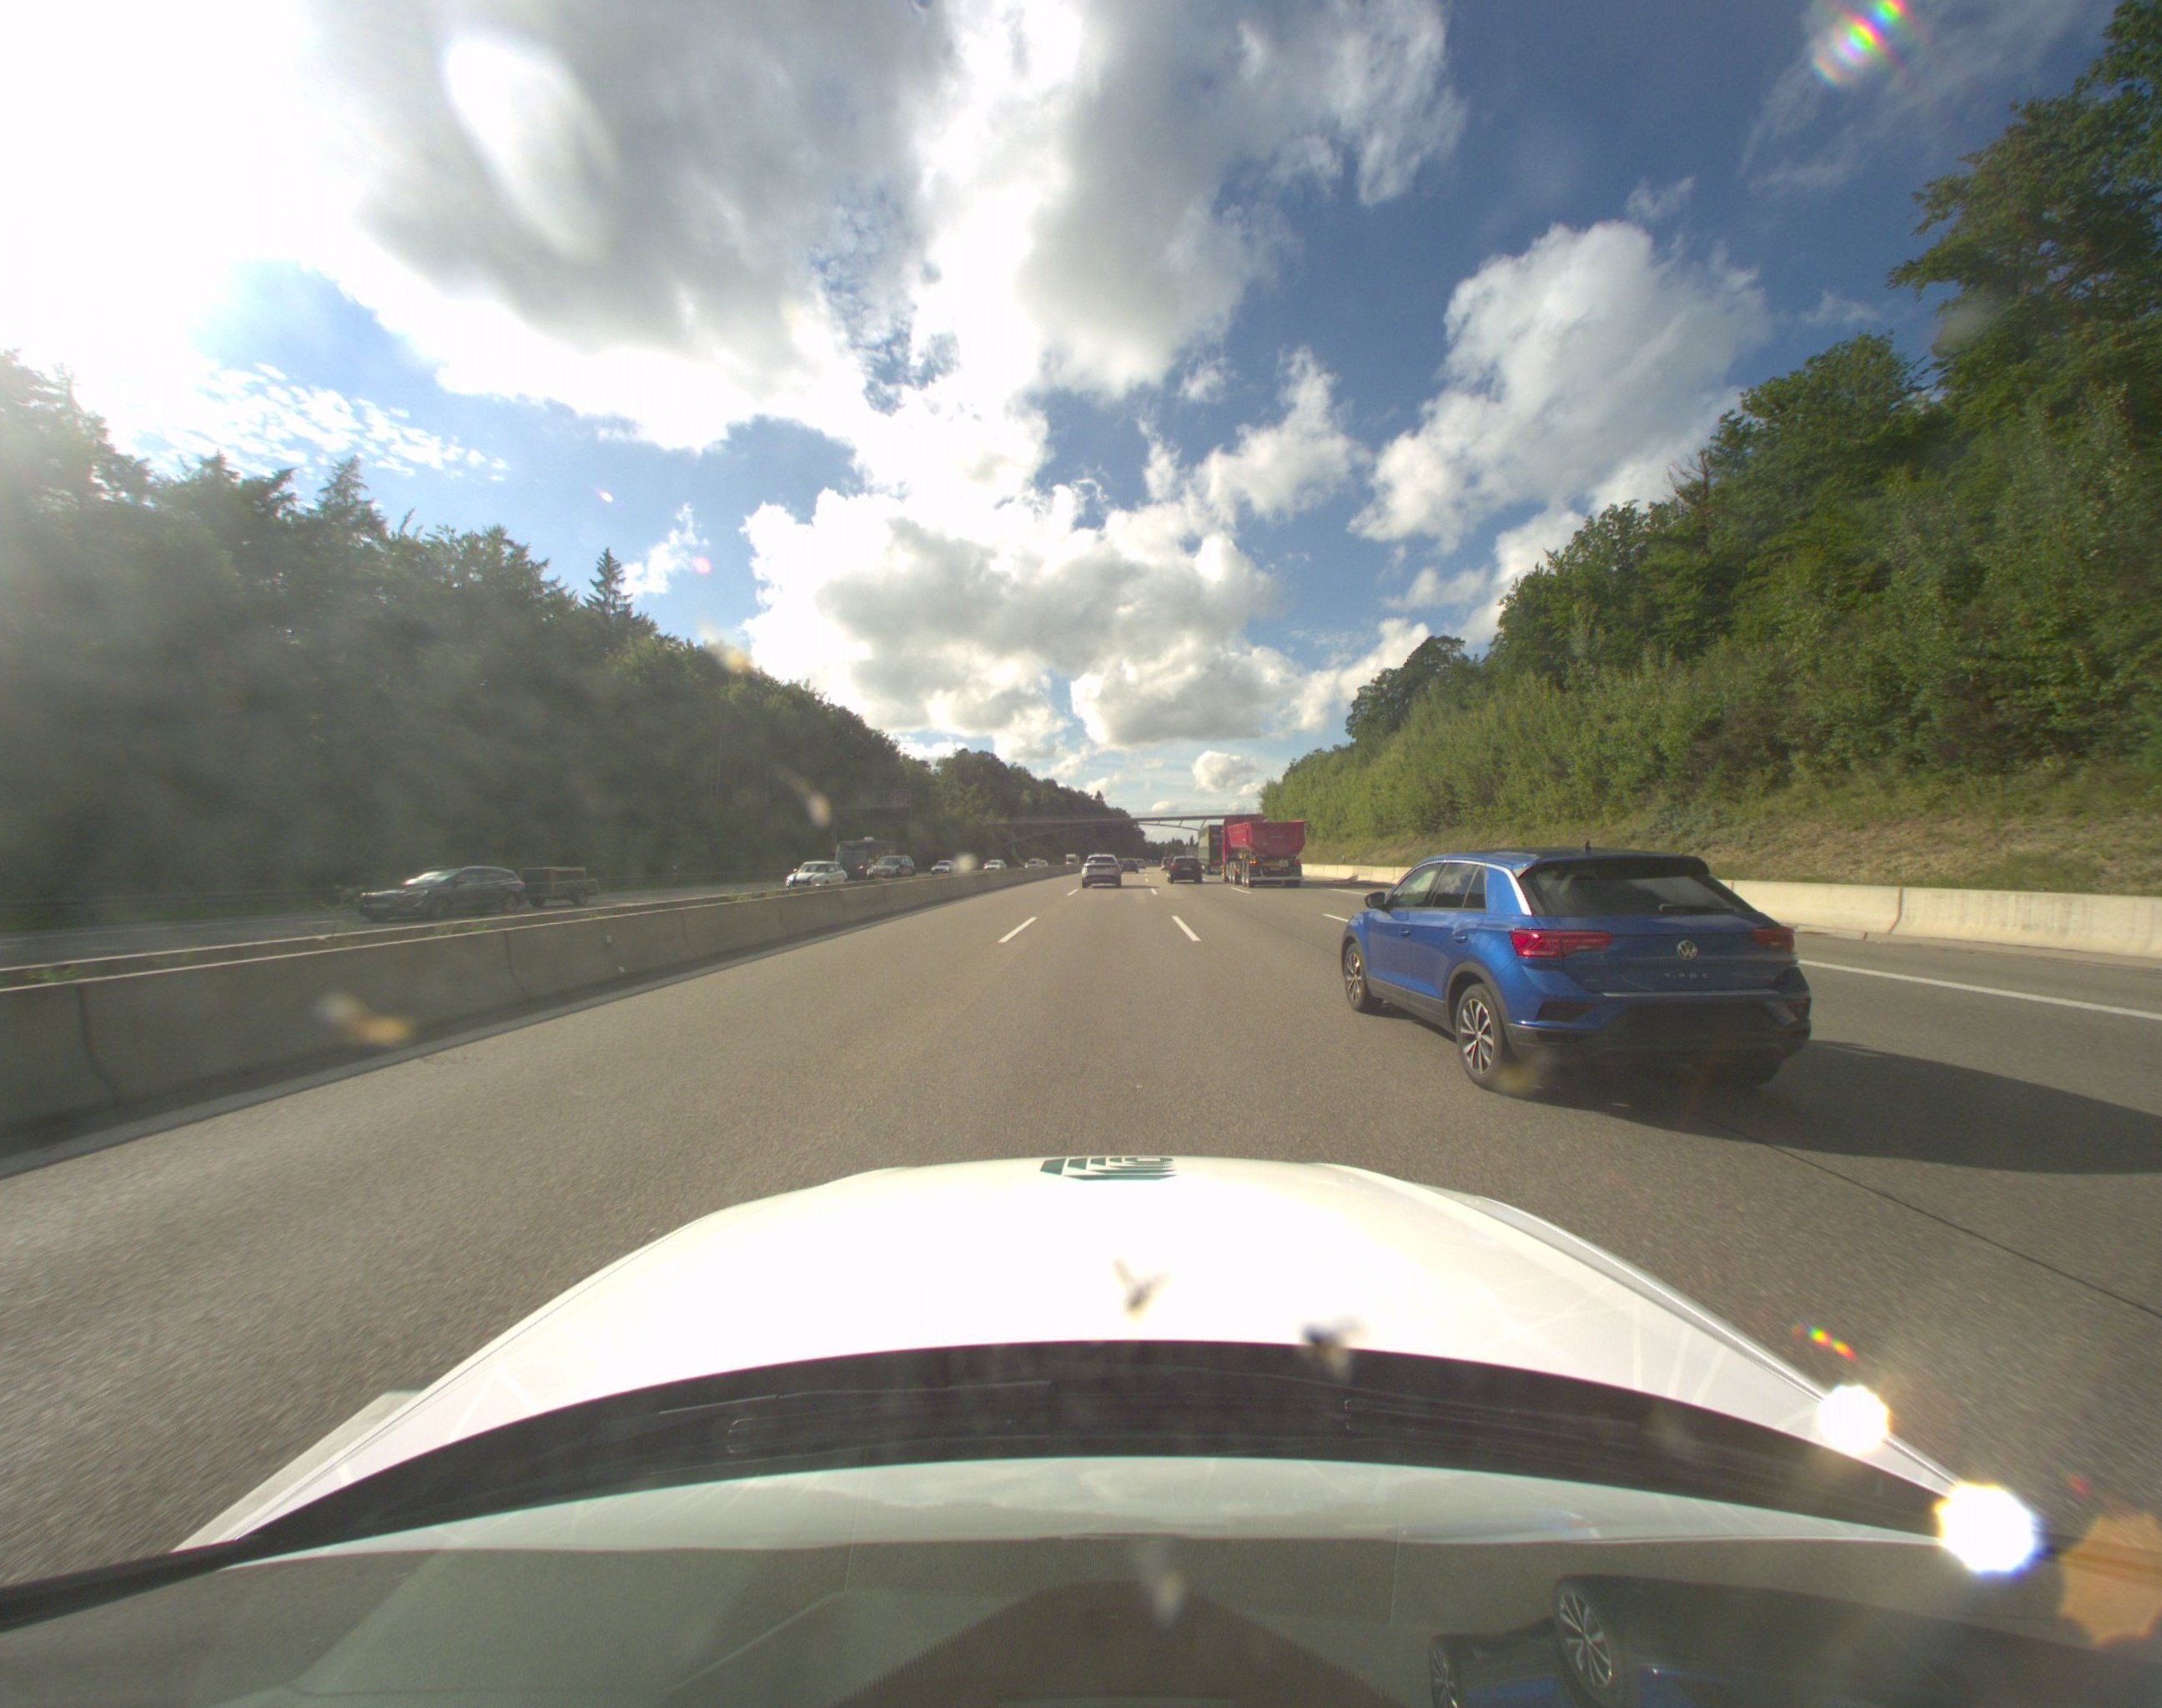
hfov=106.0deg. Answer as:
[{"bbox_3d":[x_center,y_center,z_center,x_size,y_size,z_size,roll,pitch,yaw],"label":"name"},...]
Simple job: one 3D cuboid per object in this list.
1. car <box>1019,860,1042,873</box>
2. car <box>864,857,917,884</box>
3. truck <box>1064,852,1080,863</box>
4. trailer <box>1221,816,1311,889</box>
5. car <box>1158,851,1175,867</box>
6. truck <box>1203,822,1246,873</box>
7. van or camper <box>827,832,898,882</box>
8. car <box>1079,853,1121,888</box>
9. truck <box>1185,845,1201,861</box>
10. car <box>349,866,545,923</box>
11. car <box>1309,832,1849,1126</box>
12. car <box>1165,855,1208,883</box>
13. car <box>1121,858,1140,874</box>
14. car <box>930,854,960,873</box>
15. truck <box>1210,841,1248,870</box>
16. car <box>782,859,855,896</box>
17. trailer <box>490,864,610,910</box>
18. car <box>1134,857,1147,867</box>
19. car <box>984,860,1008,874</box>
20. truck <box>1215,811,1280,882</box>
[{"bbox_3d":[-5.338,1.297,86.395,1.836,1.296,4.265,-1,0,5],"label":"car"},{"bbox_3d":[-11.534,0.940,49.503,1.915,1.540,4.705,-1,0,2],"label":"car"},{"bbox_3d":[-2.202,0.884,196.555,2.851,2.679,7.020,-1,0,6],"label":"truck"},{"bbox_3d":[9.092,-0.053,41.187,2.699,3.231,9.738,-1,0,2],"label":"trailer"},{"bbox_3d":[10.057,0.597,96.244,1.885,1.857,4.105,-1,0,4],"label":"car"},{"bbox_3d":[11.881,-0.509,68.248,3.101,3.935,10.433,-1,0,8],"label":"truck"},{"bbox_3d":[-14.715,0.215,55.370,2.549,3.125,7.338,-1,0,2],"label":"van or camper"},{"bbox_3d":[1.034,0.771,41.583,1.998,1.616,5.304,-1,0,2],"label":"car"},{"bbox_3d":[20.864,-0.231,152.231,2.829,2.925,8.404,-1,0,8],"label":"truck"},{"bbox_3d":[-18.057,1.073,23.586,1.807,1.390,4.935,-1,0,0],"label":"car"},{"bbox_3d":[3.317,0.673,6.645,1.766,1.530,4.460,-2,0,2],"label":"car"},{"bbox_3d":[5.873,0.818,45.636,1.817,1.457,3.999,-1,0,-1],"label":"car"},{"bbox_3d":[4.956,1.199,80.637,1.814,1.546,4.004,0,0,4],"label":"car"},{"bbox_3d":[-12.957,0.862,77.699,1.837,1.744,4.263,-1,0,4],"label":"car"},{"bbox_3d":[14.916,0.130,82.507,2.700,2.739,8.058,-1,0,2],"label":"truck"},{"bbox_3d":[-11.988,1.035,37.470,1.808,1.535,4.318,-1,0,2],"label":"car"},{"bbox_3d":[-18.065,1.084,27.932,1.653,1.413,3.709,-1,0,0],"label":"trailer"},{"bbox_3d":[8.708,1.203,119.396,1.814,1.457,4.005,-1,0,5],"label":"car"},{"bbox_3d":[-8.874,1.337,85.148,1.837,1.296,4.261,-1,0,2],"label":"car"},{"bbox_3d":[9.304,-0.380,46.117,2.699,3.718,5.822,-1,0,3],"label":"truck"}]
